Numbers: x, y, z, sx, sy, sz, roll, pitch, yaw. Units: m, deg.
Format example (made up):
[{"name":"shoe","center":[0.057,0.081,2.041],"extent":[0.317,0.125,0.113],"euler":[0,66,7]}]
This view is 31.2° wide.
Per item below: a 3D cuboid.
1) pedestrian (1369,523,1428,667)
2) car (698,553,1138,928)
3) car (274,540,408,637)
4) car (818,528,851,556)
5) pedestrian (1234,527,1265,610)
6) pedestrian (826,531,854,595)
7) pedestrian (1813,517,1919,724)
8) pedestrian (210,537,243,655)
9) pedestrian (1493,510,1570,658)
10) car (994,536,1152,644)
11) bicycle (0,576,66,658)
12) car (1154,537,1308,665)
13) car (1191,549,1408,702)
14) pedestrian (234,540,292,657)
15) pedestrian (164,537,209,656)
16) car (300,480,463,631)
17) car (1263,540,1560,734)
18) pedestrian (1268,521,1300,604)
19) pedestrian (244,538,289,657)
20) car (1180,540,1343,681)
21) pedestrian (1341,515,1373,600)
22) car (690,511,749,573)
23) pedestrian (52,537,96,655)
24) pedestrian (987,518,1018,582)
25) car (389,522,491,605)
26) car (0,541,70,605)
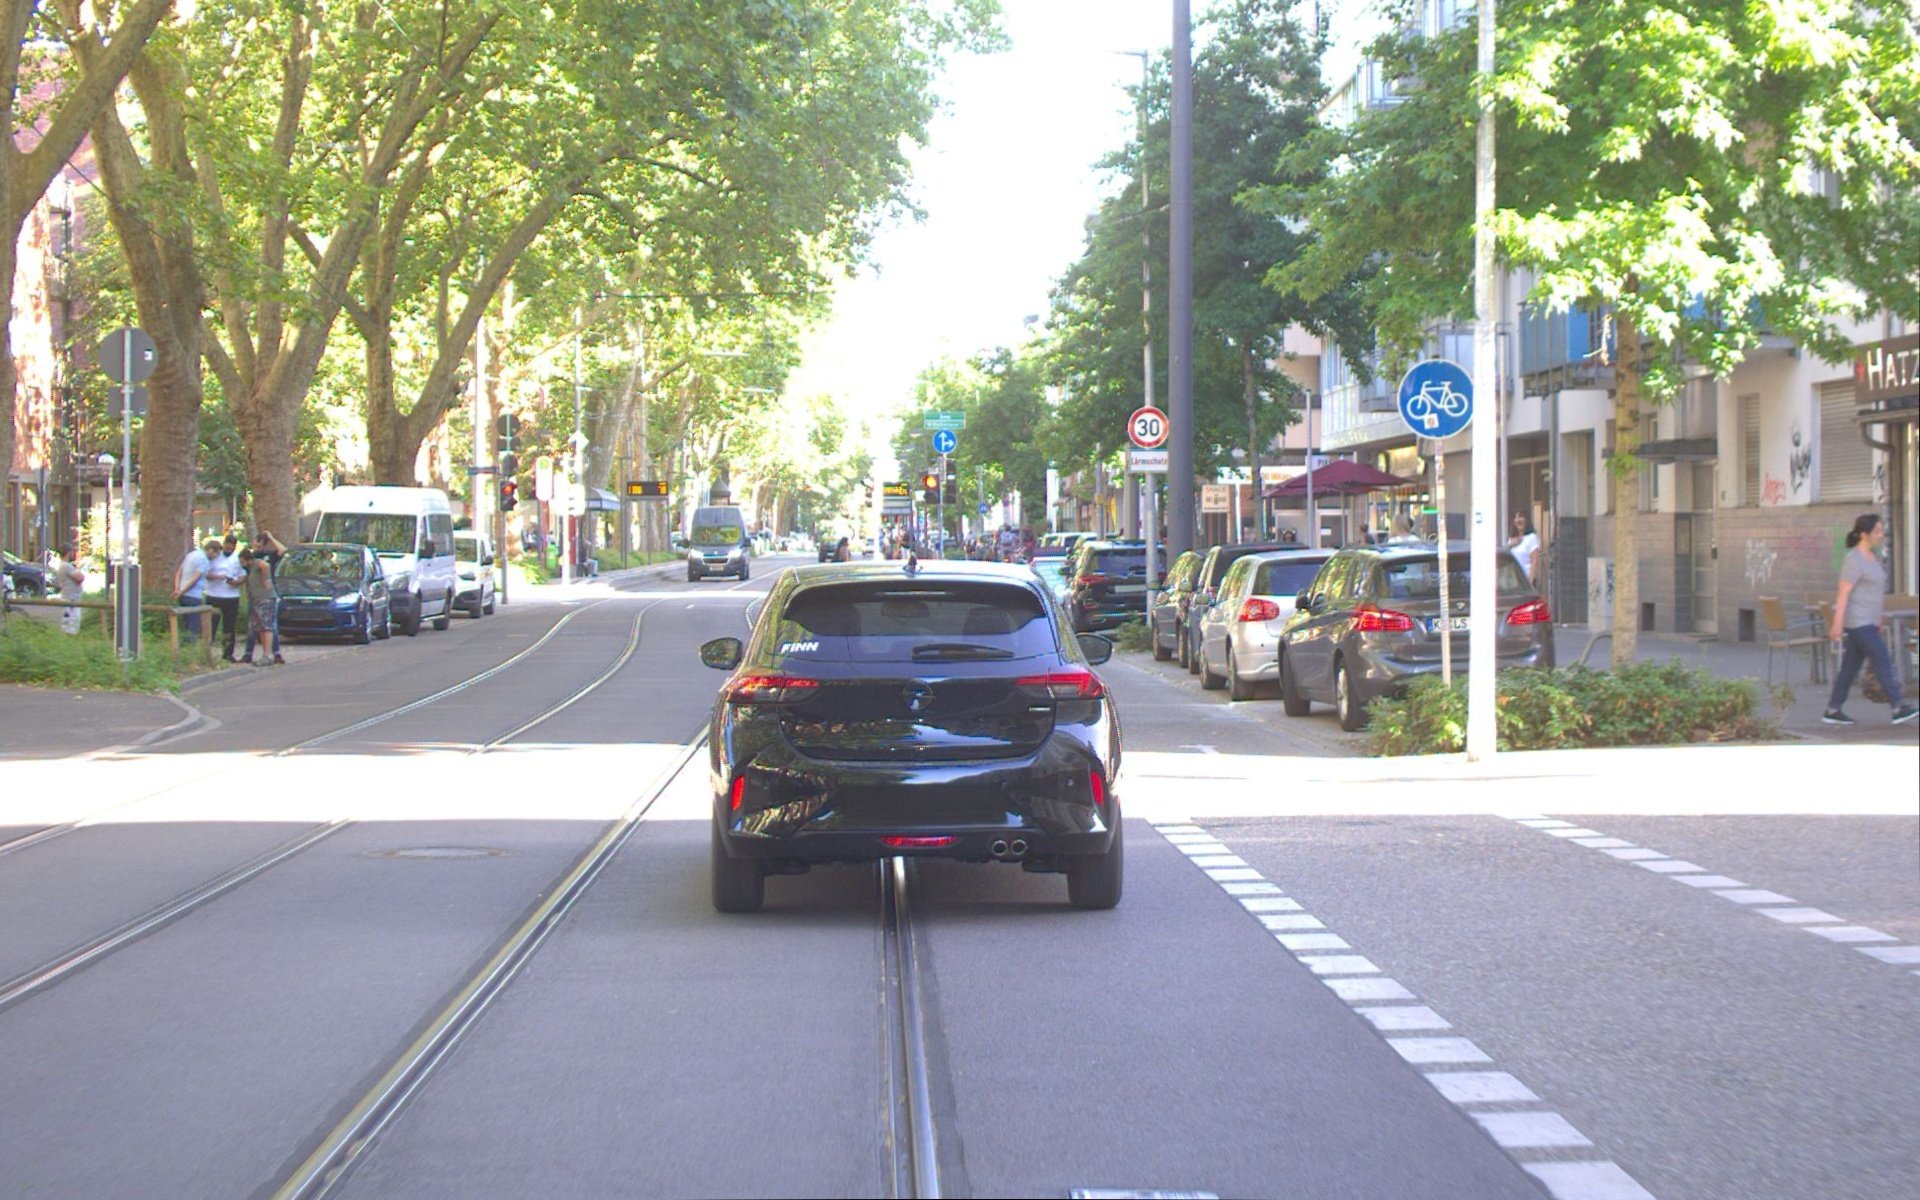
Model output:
[{"name":"pedestrian","center":[5.059,-0.067,39.722],"extent":[0.600,1.646,0.631],"euler":[0,1,0]},{"name":"car","center":[-0.218,0.525,15.193],"extent":[1.679,1.417,3.628],"euler":[1,1,-2]},{"name":"car","center":[-9.986,-0.217,55.691],"extent":[1.754,1.503,4.001],"euler":[0,1,-5]},{"name":"car","center":[-7.391,-3.419,202.570],"extent":[1.750,1.646,4.000],"euler":[0,1,0]},{"name":"pedestrian","center":[6.063,-0.652,71.917],"extent":[0.629,1.727,0.632],"euler":[0,1,4]},{"name":"pedestrian","center":[-2.997,-0.924,85.480],"extent":[0.594,1.584,0.893],"euler":[0,1,-8]},{"name":"pedestrian","center":[7.273,0.152,27.215],"extent":[0.856,1.611,0.769],"euler":[0,1,27]},{"name":"pedestrian","center":[-9.847,-0.058,46.157],"extent":[0.346,1.577,0.508],"euler":[0,1,-3]},{"name":"pedestrian","center":[6.806,-0.199,40.965],"extent":[0.793,1.742,0.770],"euler":[0,1,1]},{"name":"car","center":[1.753,-0.190,54.676],"extent":[1.993,1.634,4.001],"euler":[0,1,-6]},{"name":"bicycle","center":[-12.782,0.212,46.023],"extent":[1.693,1.058,0.452],"euler":[2,0,29]},{"name":"car","center":[3.443,-0.022,44.183],"extent":[1.718,1.568,3.682],"euler":[0,1,0]},{"name":"car","center":[3.464,0.221,35.668],"extent":[1.718,1.485,3.682],"euler":[0,1,-3]},{"name":"pedestrian","center":[-9.489,-0.028,46.822],"extent":[0.683,1.577,0.557],"euler":[0,1,-3]},{"name":"pedestrian","center":[-10.280,-0.048,45.714],"extent":[0.506,1.577,0.527],"euler":[0,1,-5]},{"name":"car","center":[-10.345,-0.829,61.915],"extent":[2.092,2.575,5.997],"euler":[0,1,-2]},{"name":"car","center":[3.866,0.263,30.096],"extent":[1.718,1.568,4.085],"euler":[0,1,-5]},{"name":"pedestrian","center":[6.772,-0.790,71.838],"extent":[0.629,1.727,0.632],"euler":[0,1,4]},{"name":"pedestrian","center":[-9.305,-0.036,46.141],"extent":[0.506,1.577,0.527],"euler":[0,1,-2]},{"name":"car","center":[3.480,0.089,40.076],"extent":[1.651,1.568,3.083],"euler":[0,1,0]},{"name":"pedestrian","center":[8.160,-0.877,70.720],"extent":[0.629,1.727,0.632],"euler":[0,1,5]},{"name":"car","center":[-8.769,-2.121,124.924],"extent":[1.993,2.204,5.103],"euler":[0,1,-5]},{"name":"pedestrian","center":[-11.939,-0.057,46.317],"extent":[0.506,1.577,0.527],"euler":[0,1,-8]},{"name":"pedestrian","center":[1.393,-1.636,112.899],"extent":[0.856,2.007,1.069],"euler":[-5,0,0]},{"name":"car","center":[-10.942,-0.792,72.568],"extent":[1.993,1.711,4.001],"euler":[0,1,-7]},{"name":"car","center":[-26.345,-0.742,93.317],"extent":[3.986,1.700,2.001],"euler":[0,1,-7]}]
